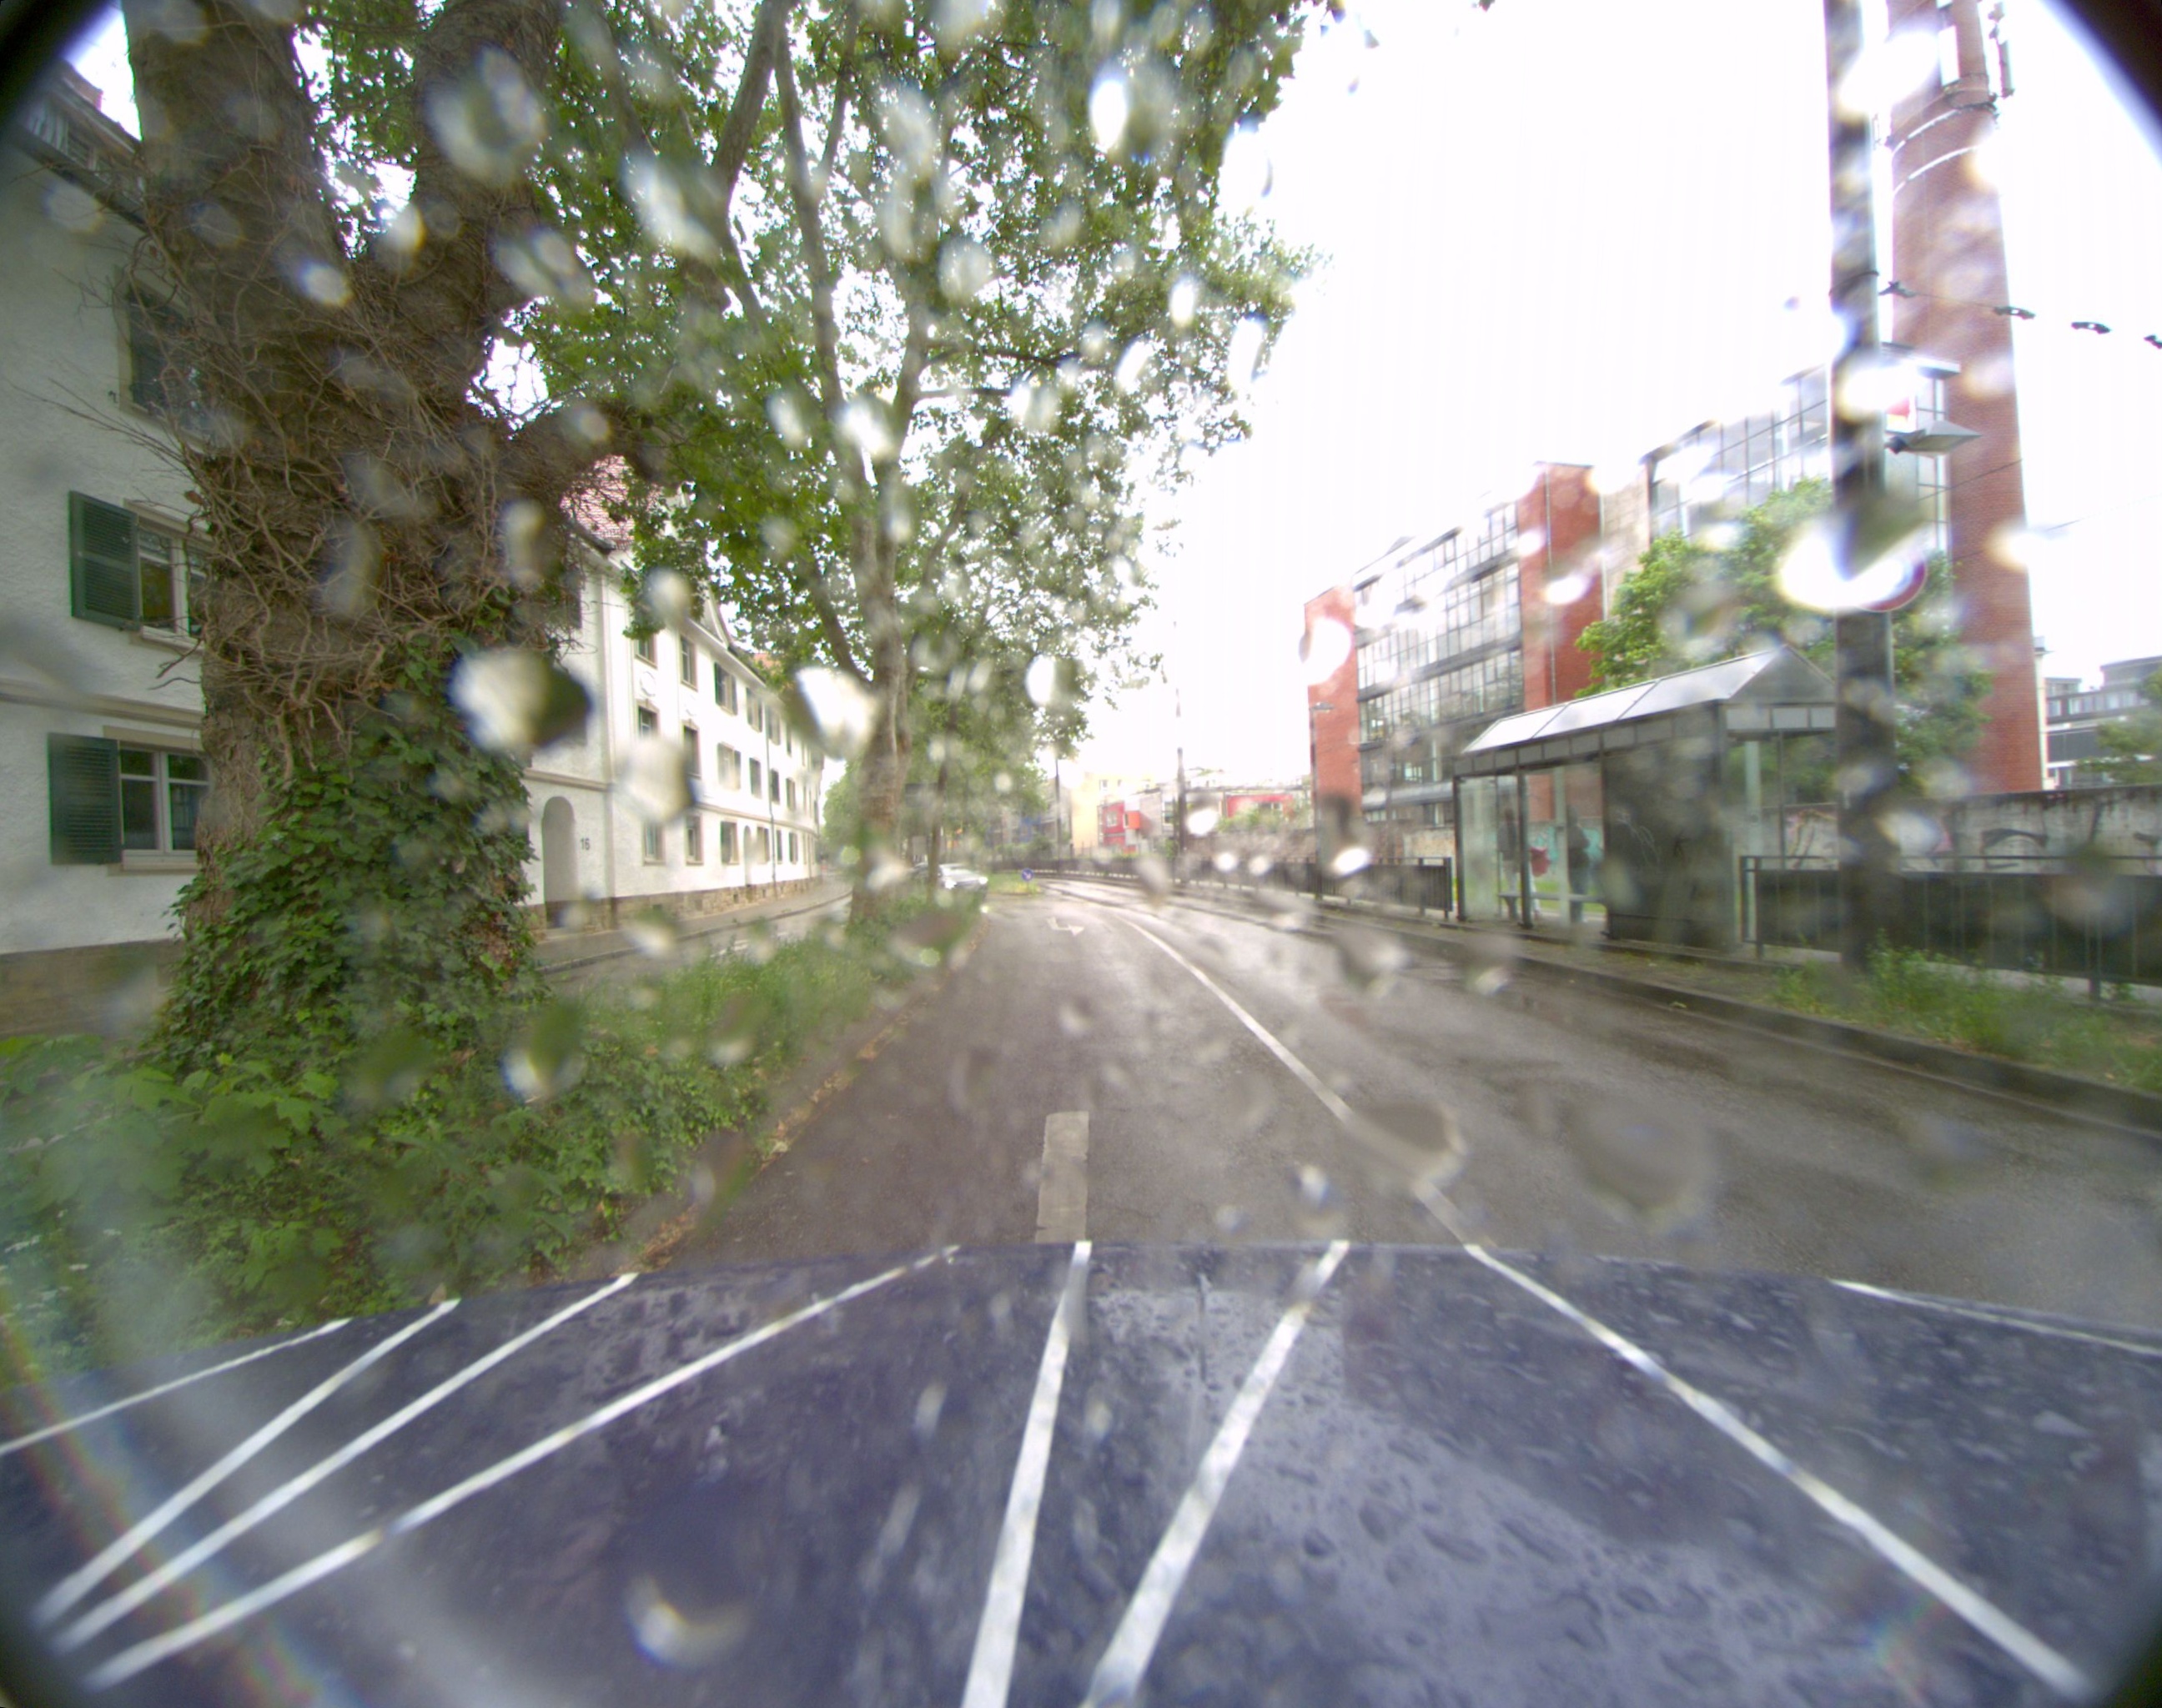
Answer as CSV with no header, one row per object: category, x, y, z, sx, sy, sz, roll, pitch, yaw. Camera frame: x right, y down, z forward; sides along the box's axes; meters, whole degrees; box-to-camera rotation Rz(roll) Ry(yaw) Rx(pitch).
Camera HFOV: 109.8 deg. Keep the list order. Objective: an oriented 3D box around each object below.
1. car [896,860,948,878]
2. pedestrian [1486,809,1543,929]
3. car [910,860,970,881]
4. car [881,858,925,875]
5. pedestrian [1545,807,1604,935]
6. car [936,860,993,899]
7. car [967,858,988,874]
car,-14.709,1.388,70.245,4.328,1.603,1.749,-1,0,6
pedestrian,6.473,0.215,11.344,0.584,1.721,0.566,-1,1,-41
car,-11.029,1.269,59.615,4.224,1.532,1.932,-1,0,11
car,-22.220,1.555,94.720,4.884,2.002,2.002,-1,0,11
pedestrian,6.884,0.227,10.600,0.584,1.721,0.566,-1,1,-43
car,-5.372,1.121,34.632,1.854,1.586,4.209,-2,0,-19
car,-11.894,1.332,87.180,1.694,1.713,3.685,-1,0,-20
